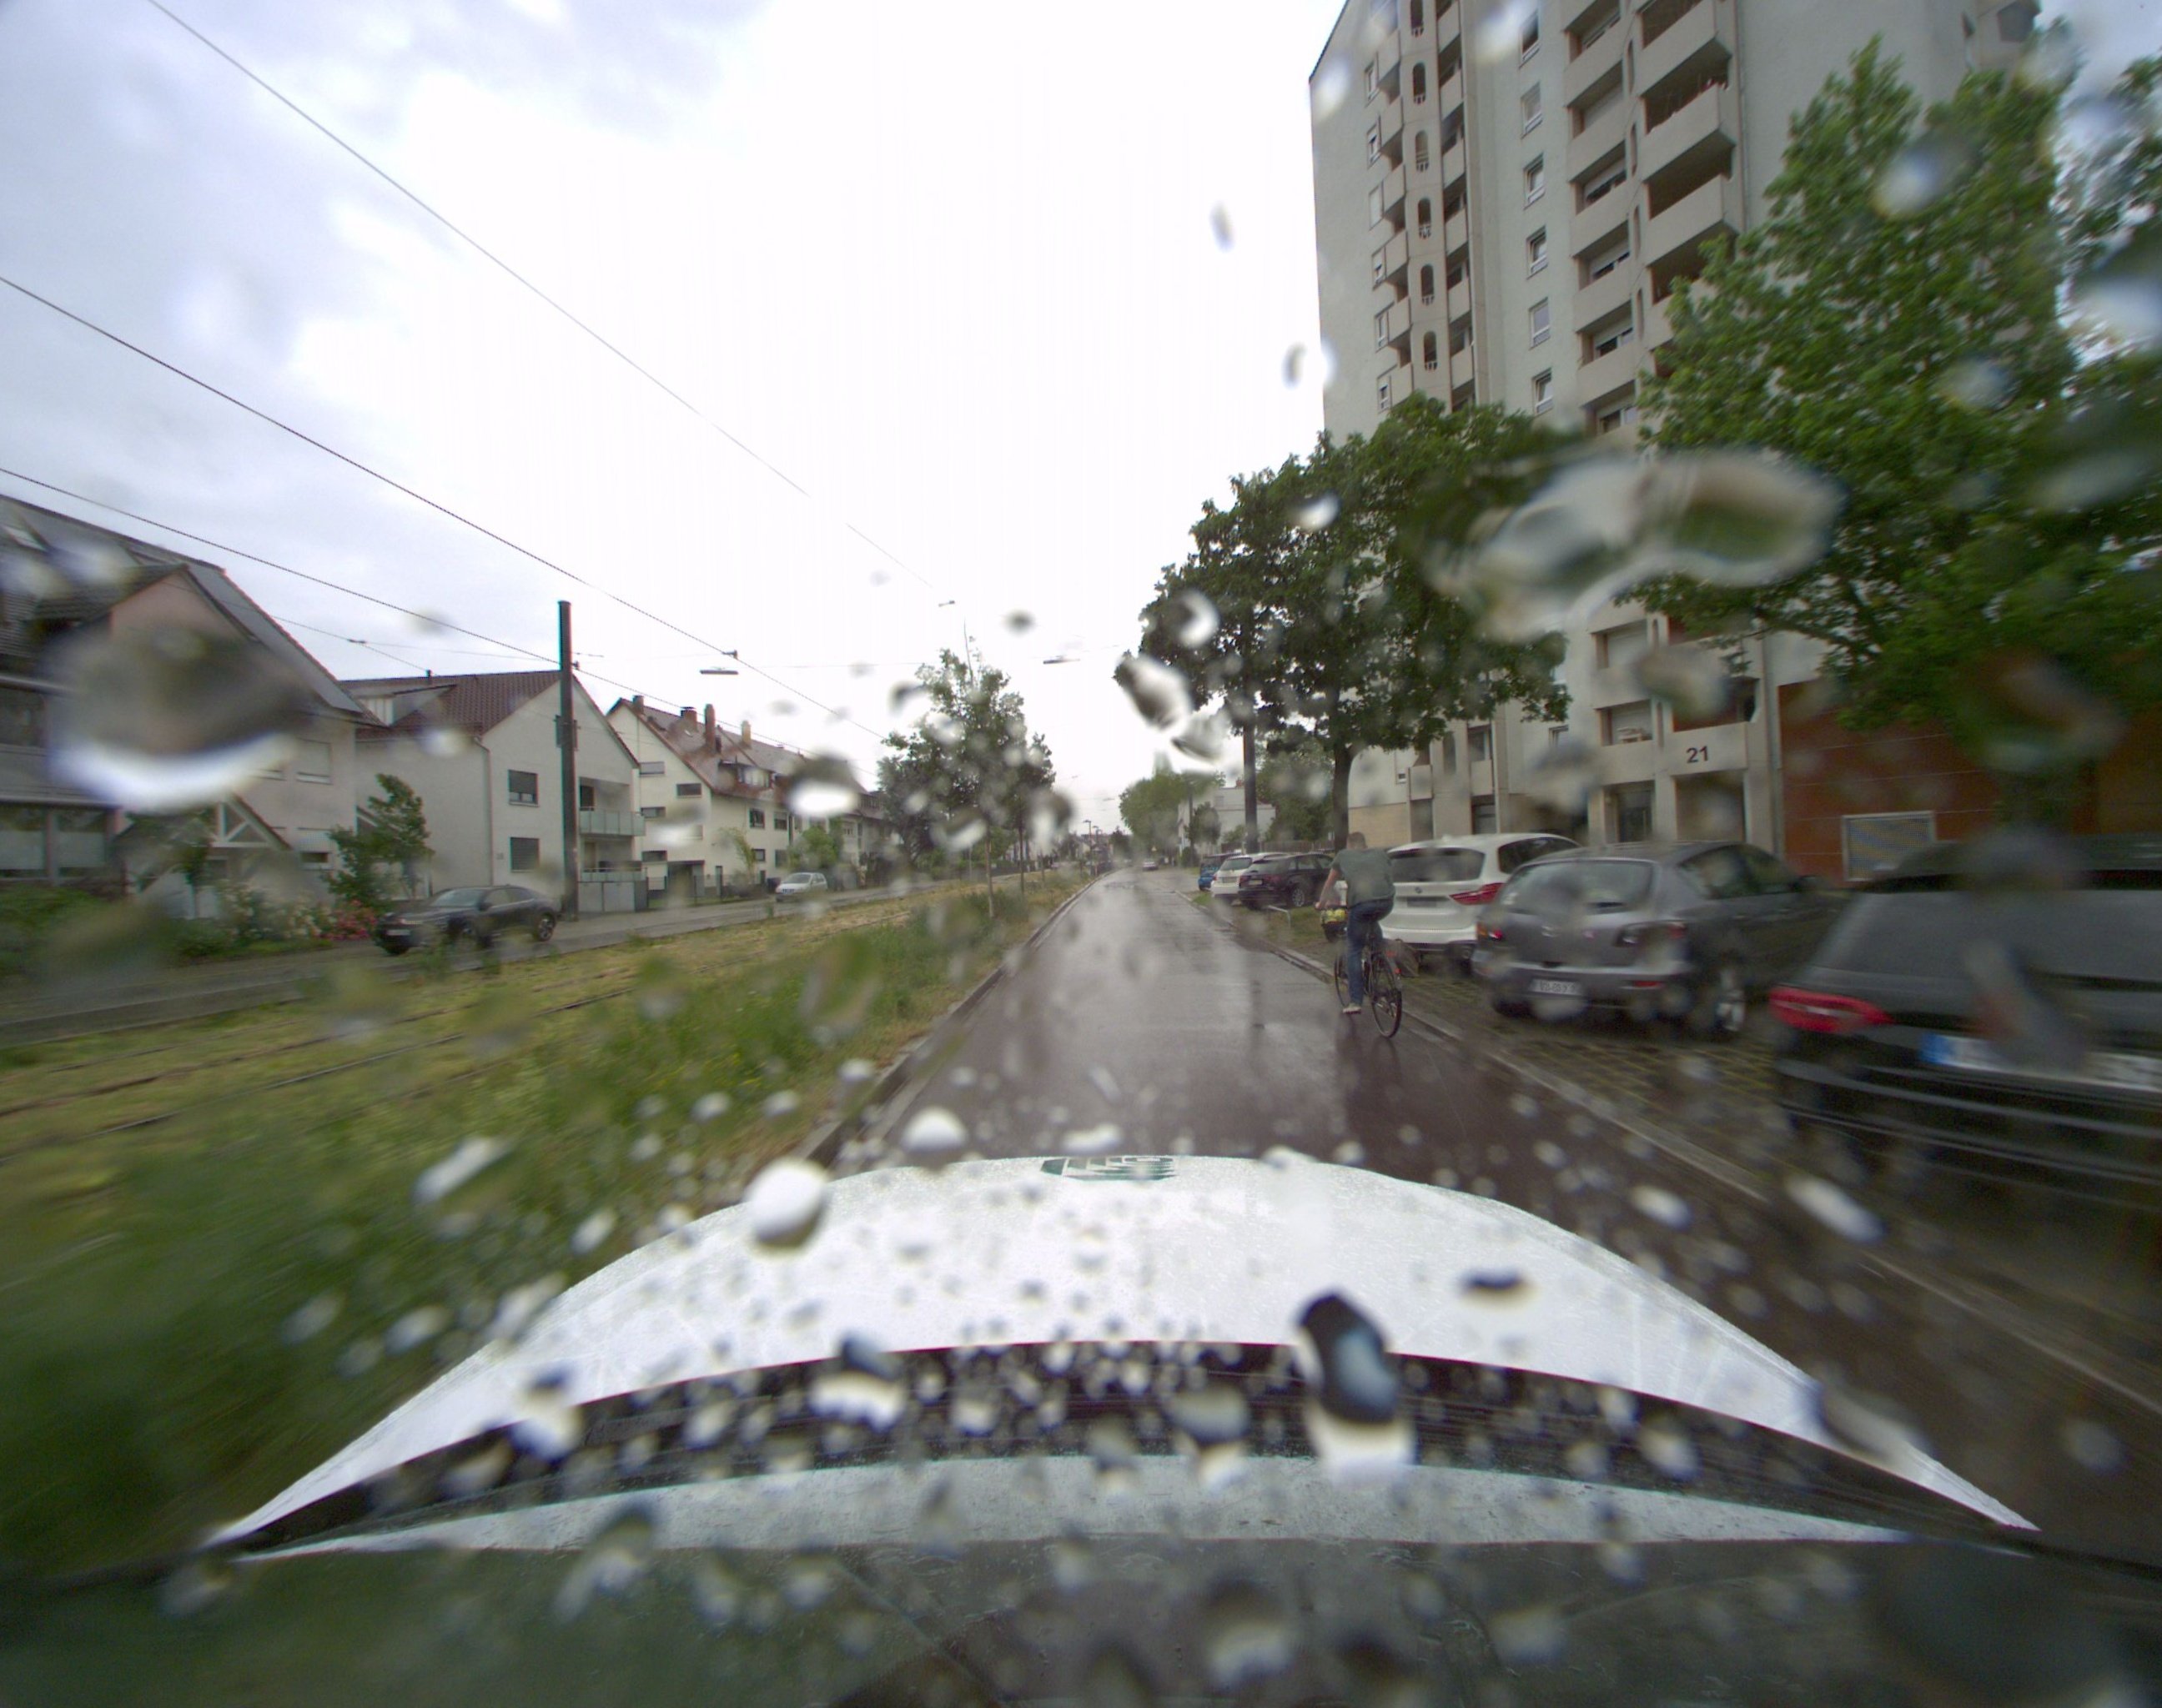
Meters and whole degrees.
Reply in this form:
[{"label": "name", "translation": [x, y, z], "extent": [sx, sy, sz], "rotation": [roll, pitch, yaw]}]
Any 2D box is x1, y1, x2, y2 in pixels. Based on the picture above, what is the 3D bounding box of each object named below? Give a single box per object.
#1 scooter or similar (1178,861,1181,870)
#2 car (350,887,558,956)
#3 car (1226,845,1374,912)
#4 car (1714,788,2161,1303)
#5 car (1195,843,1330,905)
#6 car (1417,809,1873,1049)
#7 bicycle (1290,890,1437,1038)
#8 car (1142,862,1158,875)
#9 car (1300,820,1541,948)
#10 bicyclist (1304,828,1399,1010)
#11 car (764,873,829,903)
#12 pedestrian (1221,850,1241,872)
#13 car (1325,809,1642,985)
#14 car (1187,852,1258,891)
[{"label": "scooter or similar", "translation": [11.304, 1.334, 93.433], "extent": [0.331, 1.085, 1.399], "rotation": [-2, -2, 10]}, {"label": "car", "translation": [-15.208, 1.575, 20.109], "extent": [1.830, 1.427, 4.175], "rotation": [-1, -2, 1]}, {"label": "car", "translation": [6.010, 0.640, 22.215], "extent": [3.962, 1.431, 1.666], "rotation": [-5, 0, -35]}, {"label": "car", "translation": [4.946, 0.465, 3.775], "extent": [4.477, 1.428, 1.667], "rotation": [-5, 0, -32]}, {"label": "car", "translation": [5.699, 0.594, 25.391], "extent": [4.206, 1.548, 1.745], "rotation": [-5, 0, -38]}, {"label": "car", "translation": [5.246, 0.462, 7.381], "extent": [4.478, 1.410, 1.750], "rotation": [-5, 0, -33]}, {"label": "bicycle", "translation": [2.448, 0.897, 7.310], "extent": [0.535, 1.093, 1.946], "rotation": [-1, -2, -3]}, {"label": "car", "translation": [8.106, 1.737, 95.456], "extent": [1.642, 1.405, 4.655], "rotation": [-5, -2, 5]}, {"label": "car", "translation": [5.813, 0.424, 13.758], "extent": [4.204, 1.671, 1.666], "rotation": [-5, 0, -35]}, {"label": "bicyclist", "translation": [2.439, 0.567, 7.414], "extent": [0.533, 1.560, 0.771], "rotation": [-1, -2, -4]}, {"label": "car", "translation": [-14.562, 1.735, 41.920], "extent": [1.986, 1.414, 3.658], "rotation": [-1, -2, 1]}, {"label": "pedestrian", "translation": [10.474, 0.503, 56.985], "extent": [0.840, 1.517, 1.085], "rotation": [0, -2, -26]}, {"label": "car", "translation": [5.341, 0.417, 10.551], "extent": [4.483, 1.671, 1.792], "rotation": [-5, 0, -38]}, {"label": "car", "translation": [6.037, 0.747, 34.707], "extent": [2.577, 1.548, 1.585], "rotation": [-2, -2, -38]}]
